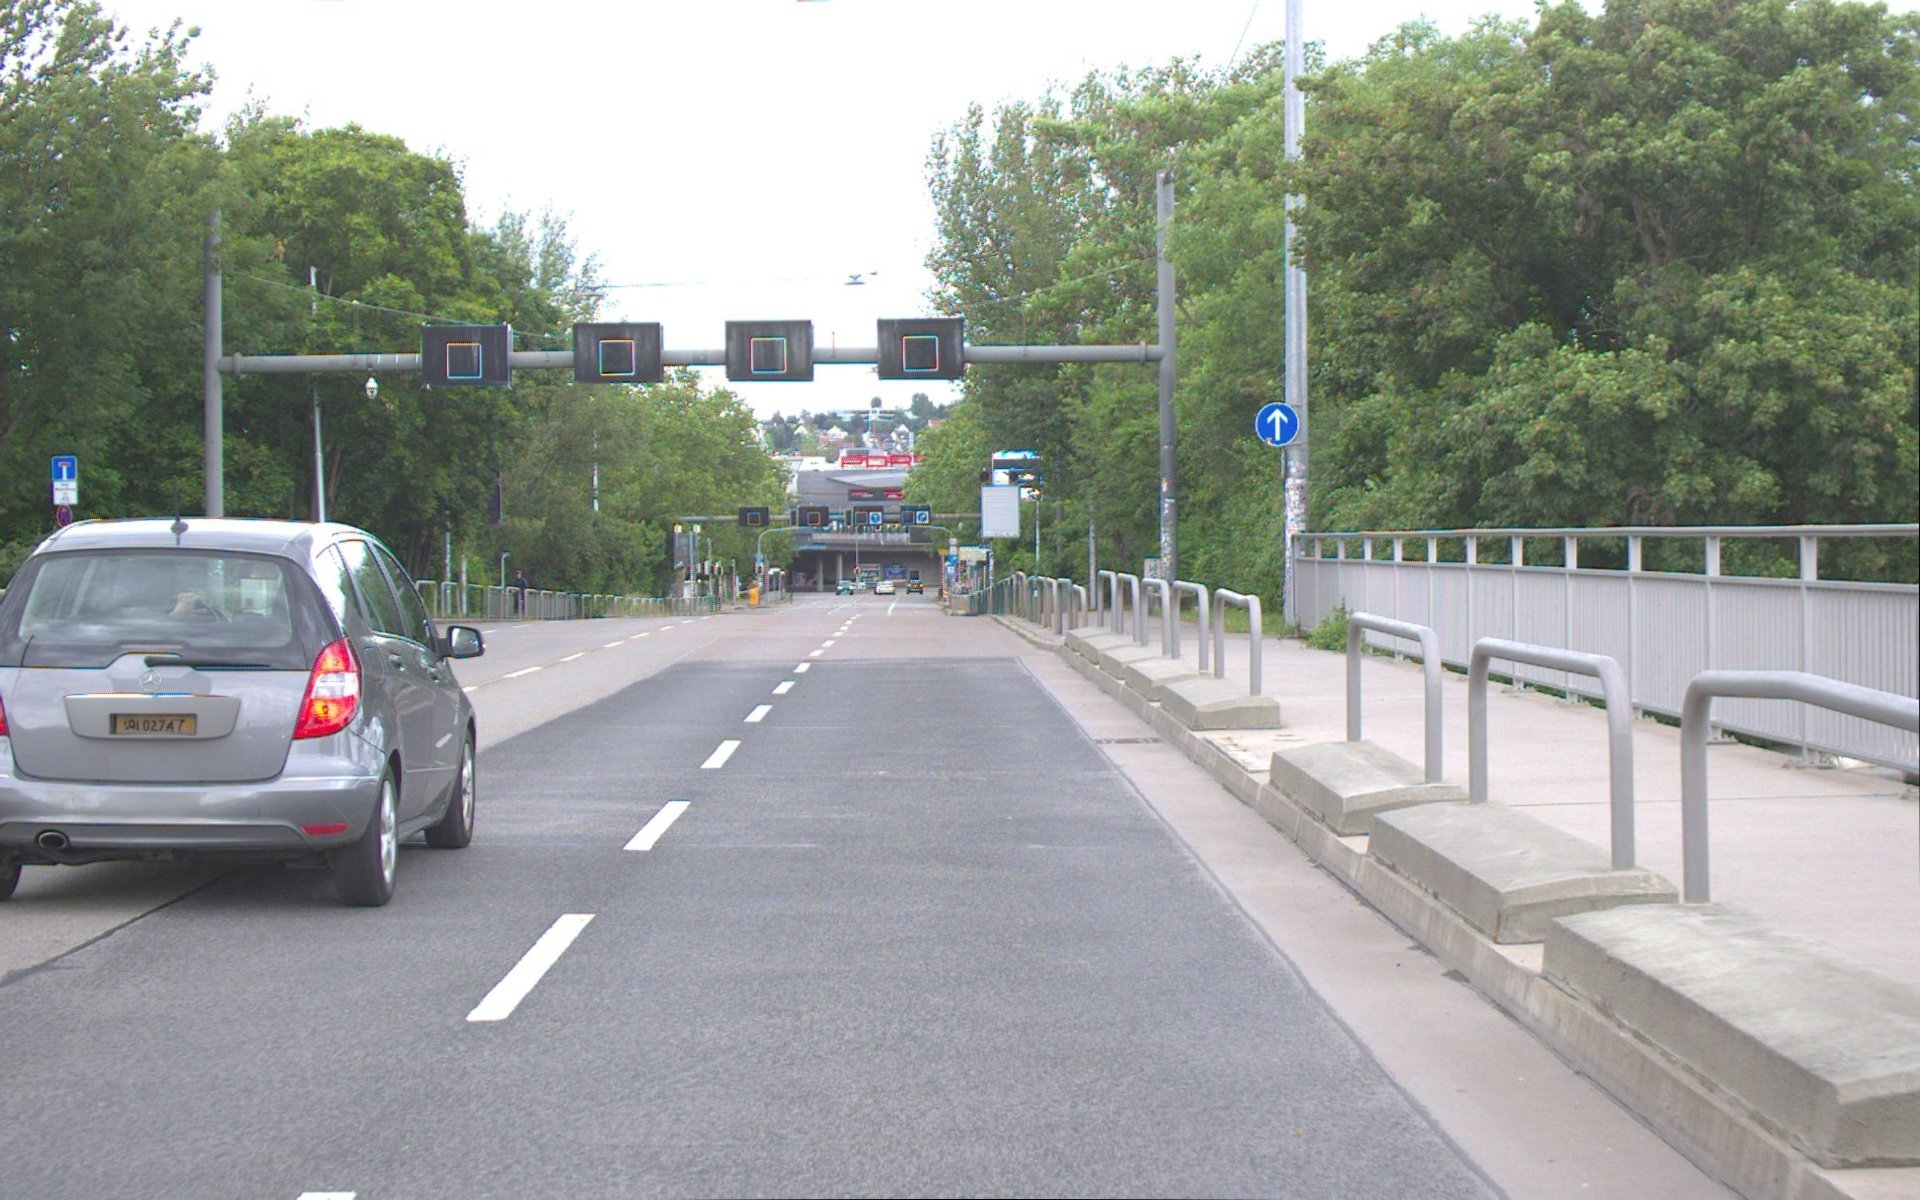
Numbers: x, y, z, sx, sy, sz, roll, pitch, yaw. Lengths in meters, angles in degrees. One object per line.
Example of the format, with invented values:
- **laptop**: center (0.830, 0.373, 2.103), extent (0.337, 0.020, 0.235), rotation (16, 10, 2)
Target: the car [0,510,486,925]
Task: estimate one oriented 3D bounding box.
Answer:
- **car**: center (-3.168, 0.398, 14.971), extent (1.745, 1.545, 3.872), rotation (0, 2, -1)
